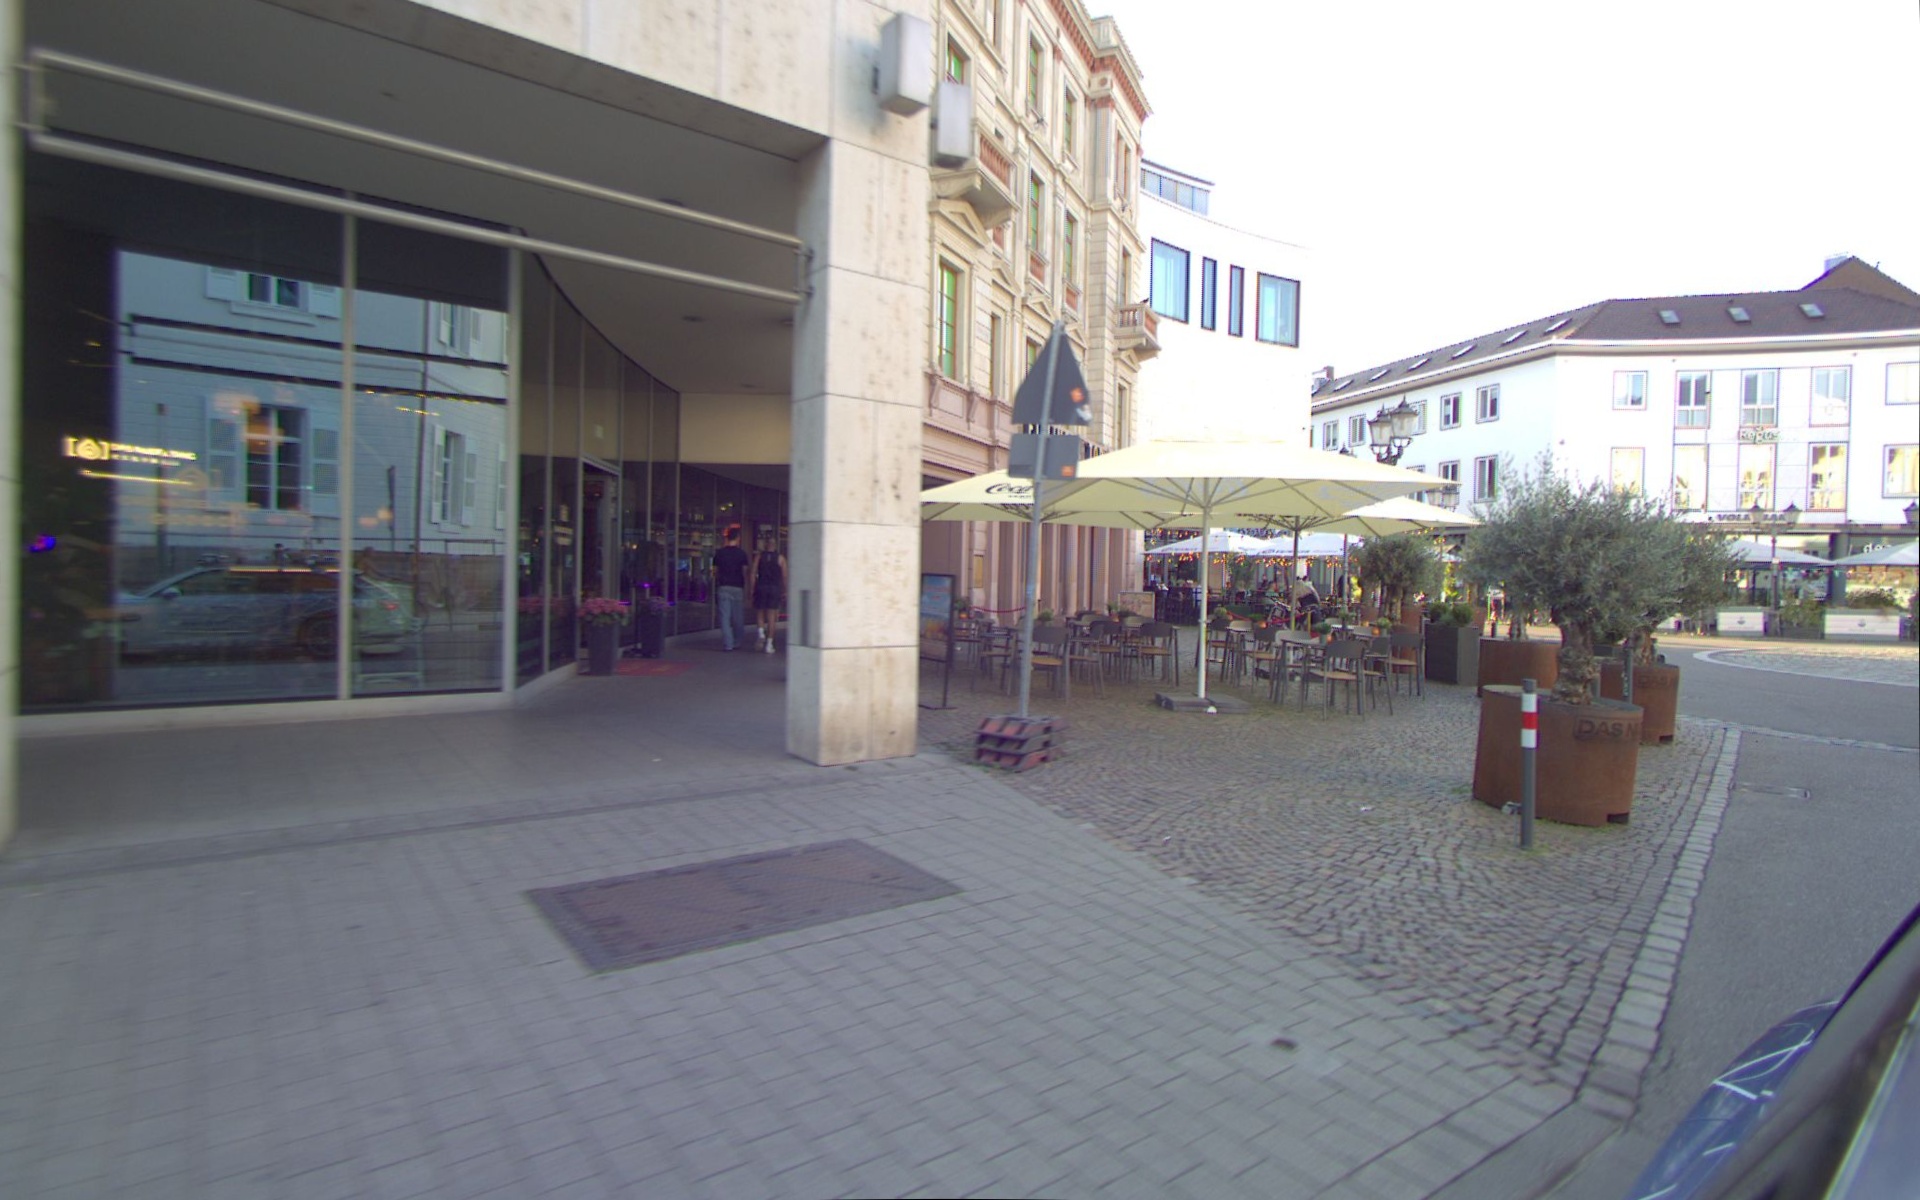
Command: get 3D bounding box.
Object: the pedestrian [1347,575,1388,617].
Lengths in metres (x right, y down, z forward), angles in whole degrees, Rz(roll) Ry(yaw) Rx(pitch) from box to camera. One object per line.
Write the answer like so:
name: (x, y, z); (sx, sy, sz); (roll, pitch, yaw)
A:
pedestrian: (14.591, -0.162, 36.266); (0.926, 1.465, 0.973); (1, 1, -21)

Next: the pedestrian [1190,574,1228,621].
pedestrian: (7.884, -0.078, 32.041); (0.835, 1.465, 0.776); (1, 1, -21)

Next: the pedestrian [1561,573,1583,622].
pedestrian: (24.751, -0.096, 40.928); (0.533, 1.947, 0.581); (0, 1, -35)

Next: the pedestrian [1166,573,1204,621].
pedestrian: (7.014, -0.093, 31.610); (0.835, 1.465, 0.776); (1, 1, -21)

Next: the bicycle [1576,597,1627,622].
bicycle: (24.765, 0.359, 39.087); (1.645, 0.946, 0.474); (1, 1, 0)

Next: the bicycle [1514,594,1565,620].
bicycle: (22.124, 0.259, 38.661); (1.645, 0.946, 0.474); (1, 1, 0)

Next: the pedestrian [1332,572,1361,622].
pedestrian: (13.861, -0.112, 36.314); (0.696, 1.769, 0.717); (1, 1, -3)

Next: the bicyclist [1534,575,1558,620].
bicyclist: (23.005, -0.104, 39.699); (0.819, 1.765, 0.482); (0, 1, -35)

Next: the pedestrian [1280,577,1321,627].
pedestrian: (10.056, 0.052, 29.922); (0.847, 1.465, 0.725); (1, 1, -13)

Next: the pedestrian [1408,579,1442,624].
pedestrian: (15.212, 0.048, 33.123); (0.679, 1.465, 0.725); (1, 1, -13)

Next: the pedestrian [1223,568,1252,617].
pedestrian: (10.157, -0.290, 37.009); (0.702, 1.769, 0.711); (1, 1, -31)

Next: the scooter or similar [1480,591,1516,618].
scooter or similar: (21.678, 0.179, 40.796); (1.180, 1.024, 0.488); (1, 1, -6)

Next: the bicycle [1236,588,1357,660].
bicycle: (5.797, 0.413, 17.462); (1.866, 1.142, 0.608); (3, 1, -12)

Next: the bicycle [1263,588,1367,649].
bicycle: (7.315, 0.365, 20.917); (1.870, 1.142, 0.607); (3, 1, -1)

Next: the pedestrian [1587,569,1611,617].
pedestrian: (24.675, -0.286, 39.079); (0.705, 1.841, 0.509); (0, 1, -35)

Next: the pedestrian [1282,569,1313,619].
pedestrian: (12.594, -0.221, 37.769); (0.833, 1.825, 0.731); (1, 1, -28)

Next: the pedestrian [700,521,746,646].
pedestrian: (-3.676, -0.259, 15.689); (0.655, 1.885, 0.720); (1, 1, -14)

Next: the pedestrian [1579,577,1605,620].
pedestrian: (24.993, -0.069, 40.043); (0.720, 1.697, 0.620); (0, 1, -35)

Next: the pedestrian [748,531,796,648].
pedestrian: (-2.911, -0.166, 15.656); (0.655, 1.767, 0.720); (1, 1, -14)

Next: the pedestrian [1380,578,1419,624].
pedestrian: (14.292, 0.035, 32.923); (0.847, 1.465, 0.725); (1, 1, -13)

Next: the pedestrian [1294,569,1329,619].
pedestrian: (12.929, -0.223, 37.190); (0.962, 1.825, 0.729); (1, 1, -30)

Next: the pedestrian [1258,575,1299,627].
pedestrian: (9.249, 0.025, 29.382); (0.847, 1.465, 0.725); (1, 1, -13)

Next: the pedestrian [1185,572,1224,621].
pedestrian: (7.439, -0.102, 30.845); (0.835, 1.465, 0.776); (1, 1, -23)

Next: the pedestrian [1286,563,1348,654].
pedestrian: (6.437, 0.140, 18.274); (0.699, 1.608, 0.751); (1, 1, -19)

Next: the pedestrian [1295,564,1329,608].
pedestrian: (14.451, -0.582, 41.614); (0.902, 1.762, 0.936); (1, 1, -20)

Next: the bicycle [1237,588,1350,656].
bicycle: (6.112, 0.402, 18.583); (1.866, 1.142, 0.608); (3, 1, -12)

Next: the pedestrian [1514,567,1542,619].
pedestrian: (21.753, -0.275, 38.756); (0.615, 1.952, 0.647); (1, 1, -13)
